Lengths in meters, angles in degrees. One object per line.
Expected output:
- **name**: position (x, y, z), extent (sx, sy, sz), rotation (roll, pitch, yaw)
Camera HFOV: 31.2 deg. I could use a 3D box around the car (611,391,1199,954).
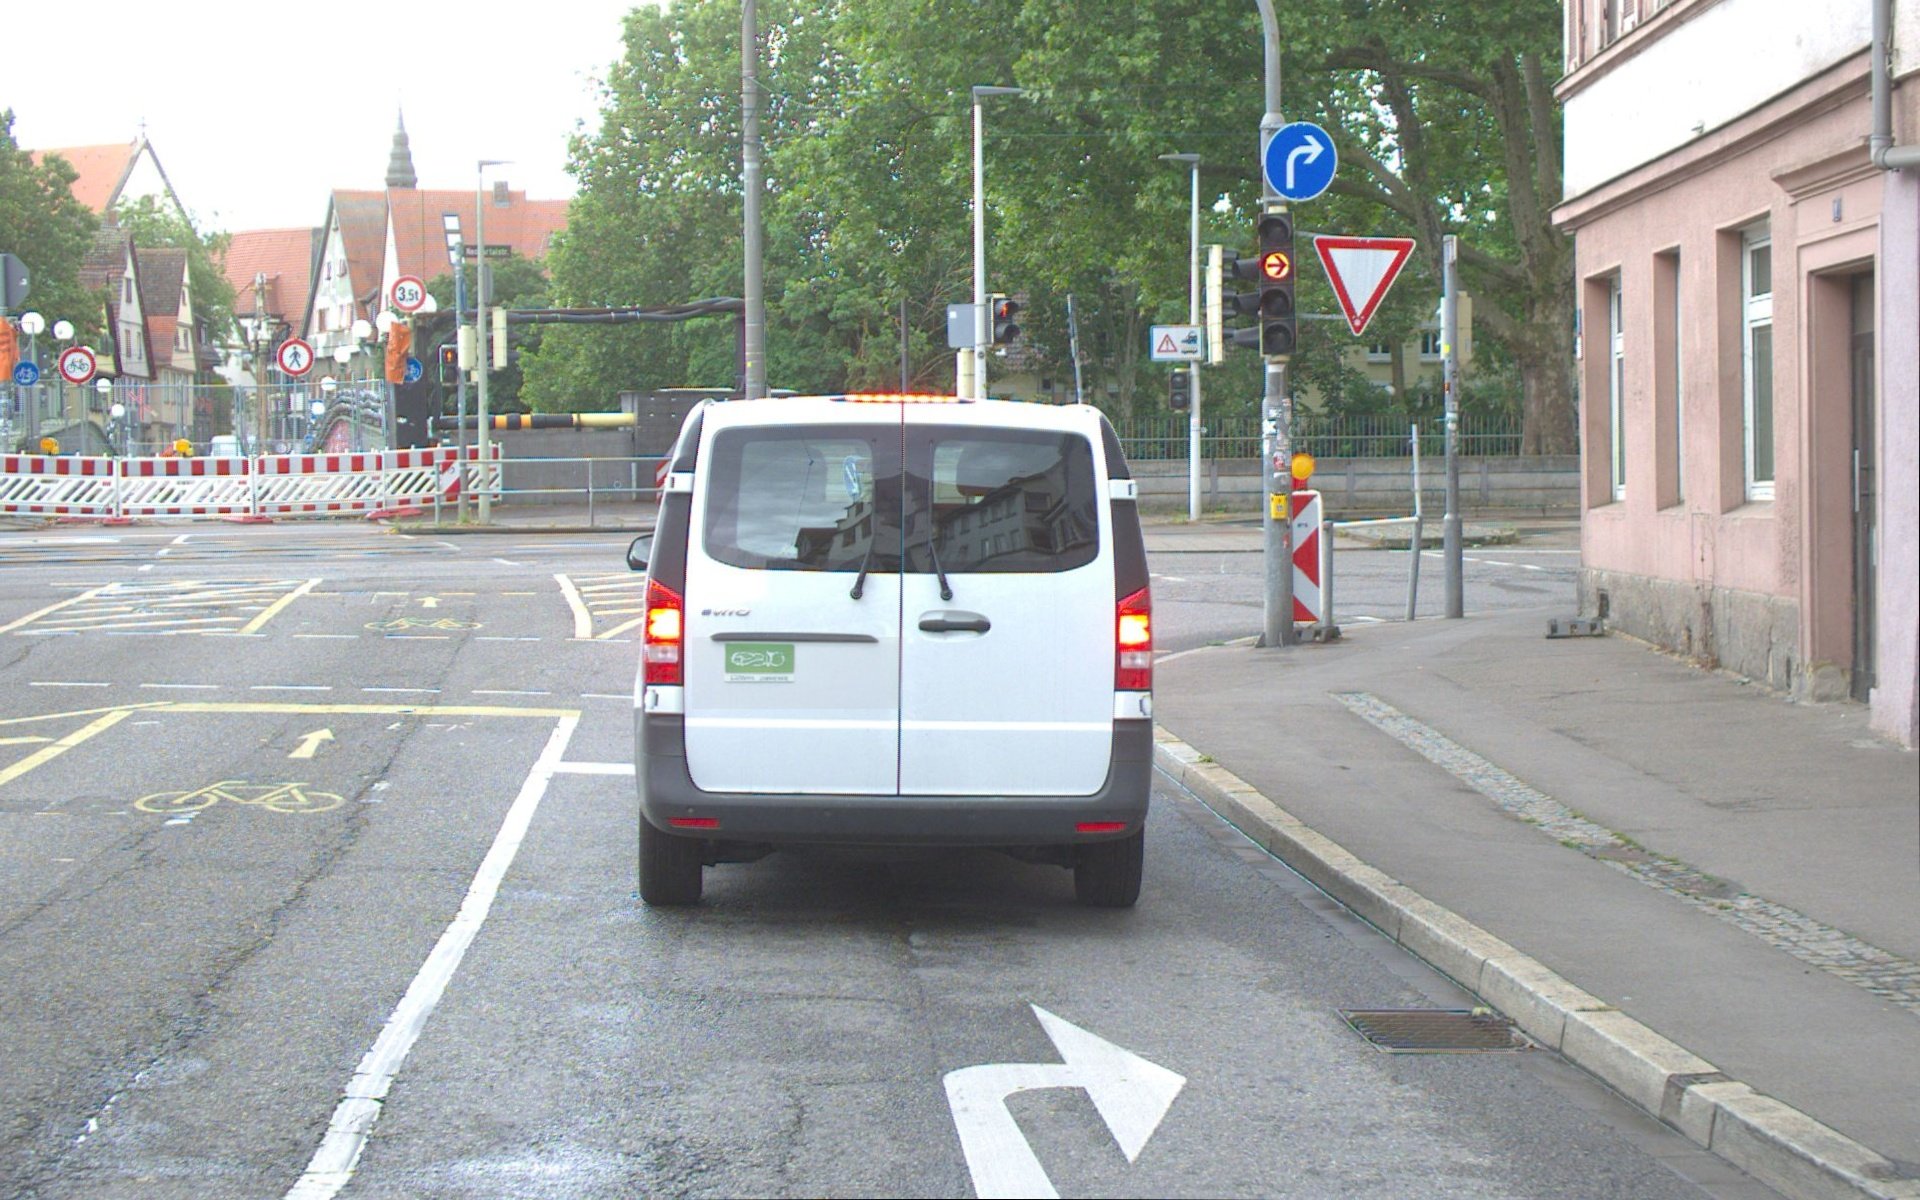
- **car**: position (-0.349, 0.161, 13.862), extent (1.993, 1.916, 4.250), rotation (0, 3, -4)
